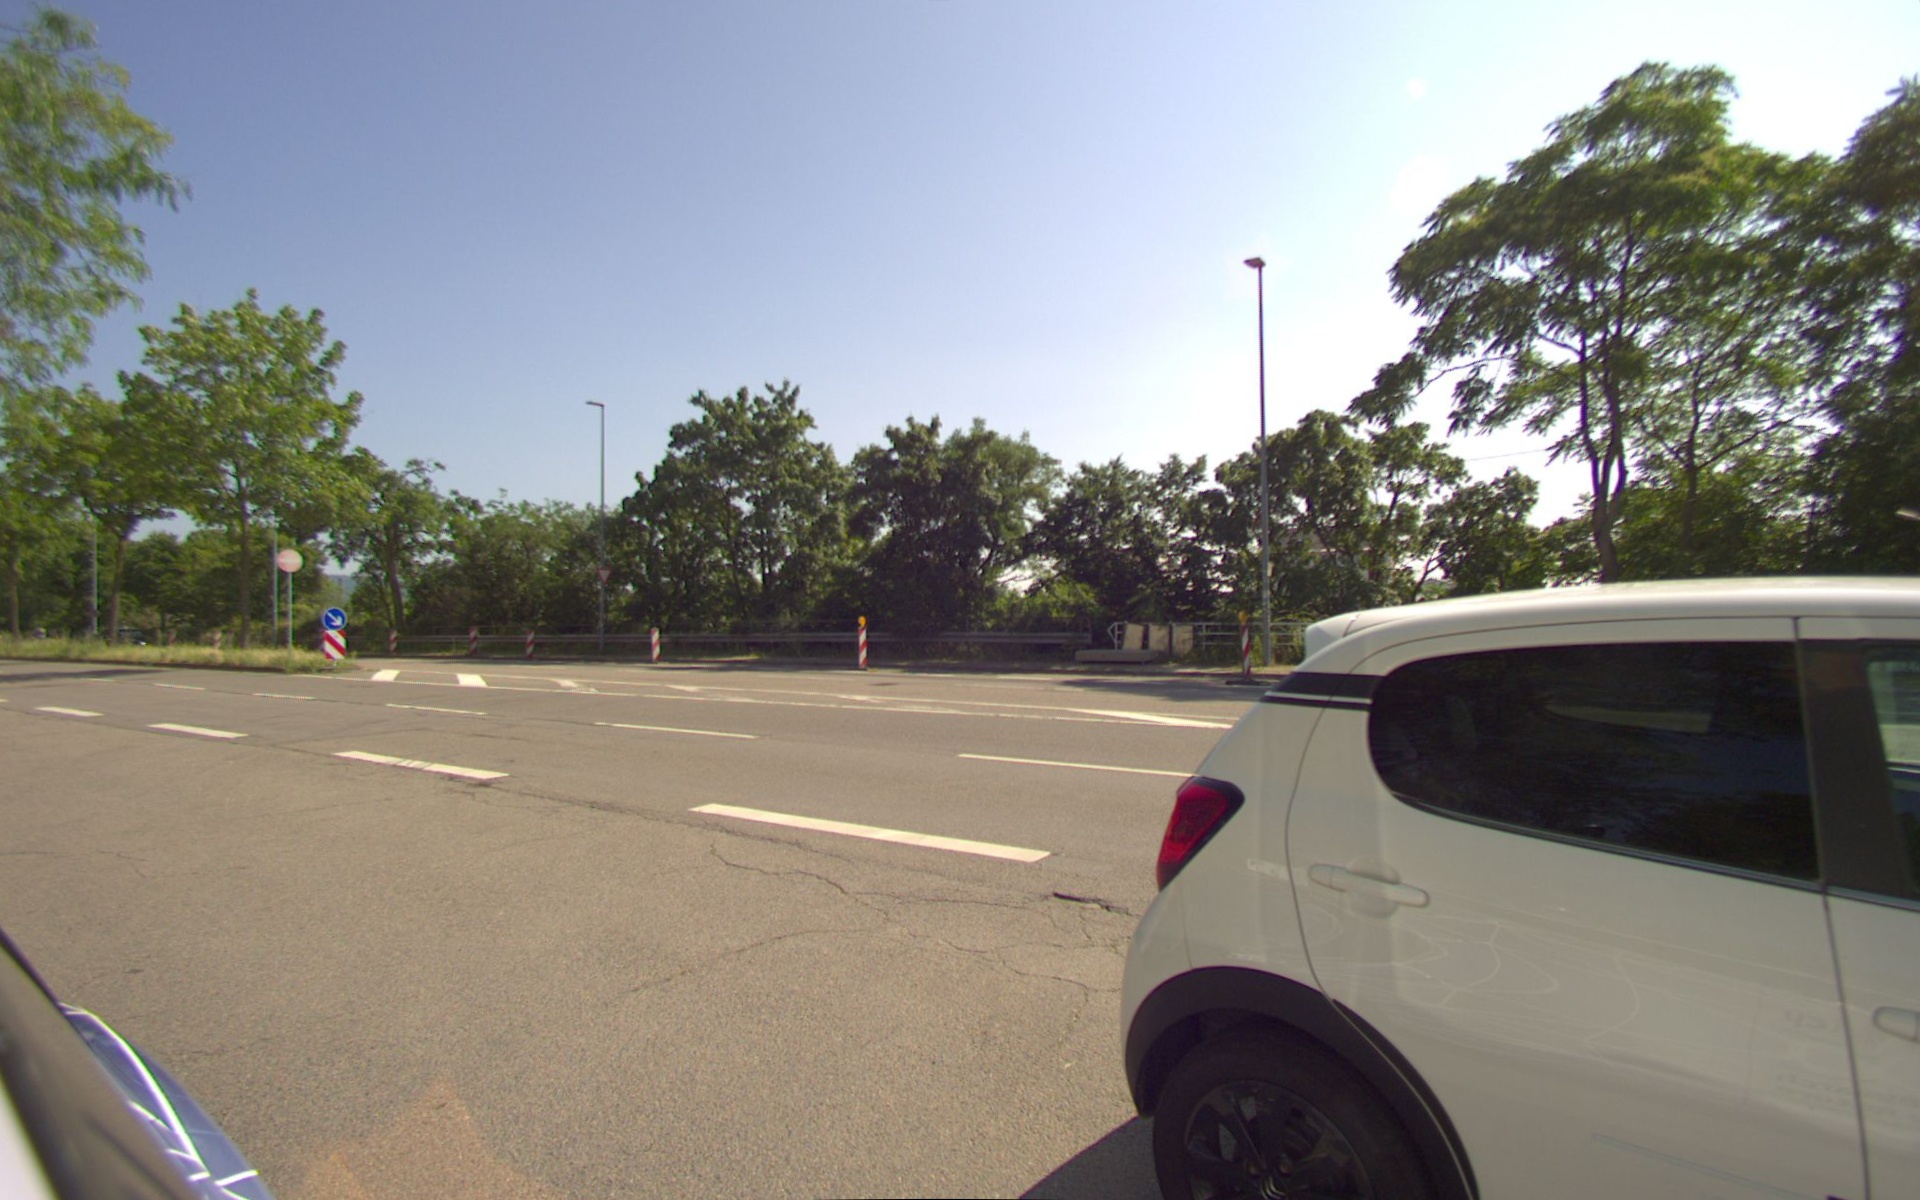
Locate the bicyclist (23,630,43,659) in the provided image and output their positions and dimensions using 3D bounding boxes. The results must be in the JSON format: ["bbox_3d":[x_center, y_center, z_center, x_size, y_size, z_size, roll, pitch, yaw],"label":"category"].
[{"bbox_3d":[-59.542,2.864,64.980,1.014,1.846,0.691,-2,-2,33],"label":"bicyclist"}]

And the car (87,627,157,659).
[{"bbox_3d":[-50.761,2.605,61.314,4.719,1.747,1.976,-1,-8,36],"label":"car"}]

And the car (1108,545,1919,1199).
[{"bbox_3d":[2.146,0.663,1.569,3.460,1.517,1.603,-2,-1,41],"label":"car"}]

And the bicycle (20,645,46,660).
[{"bbox_3d":[-59.454,3.366,64.912,2.335,0.912,0.688,-2,-2,33],"label":"bicycle"}]
